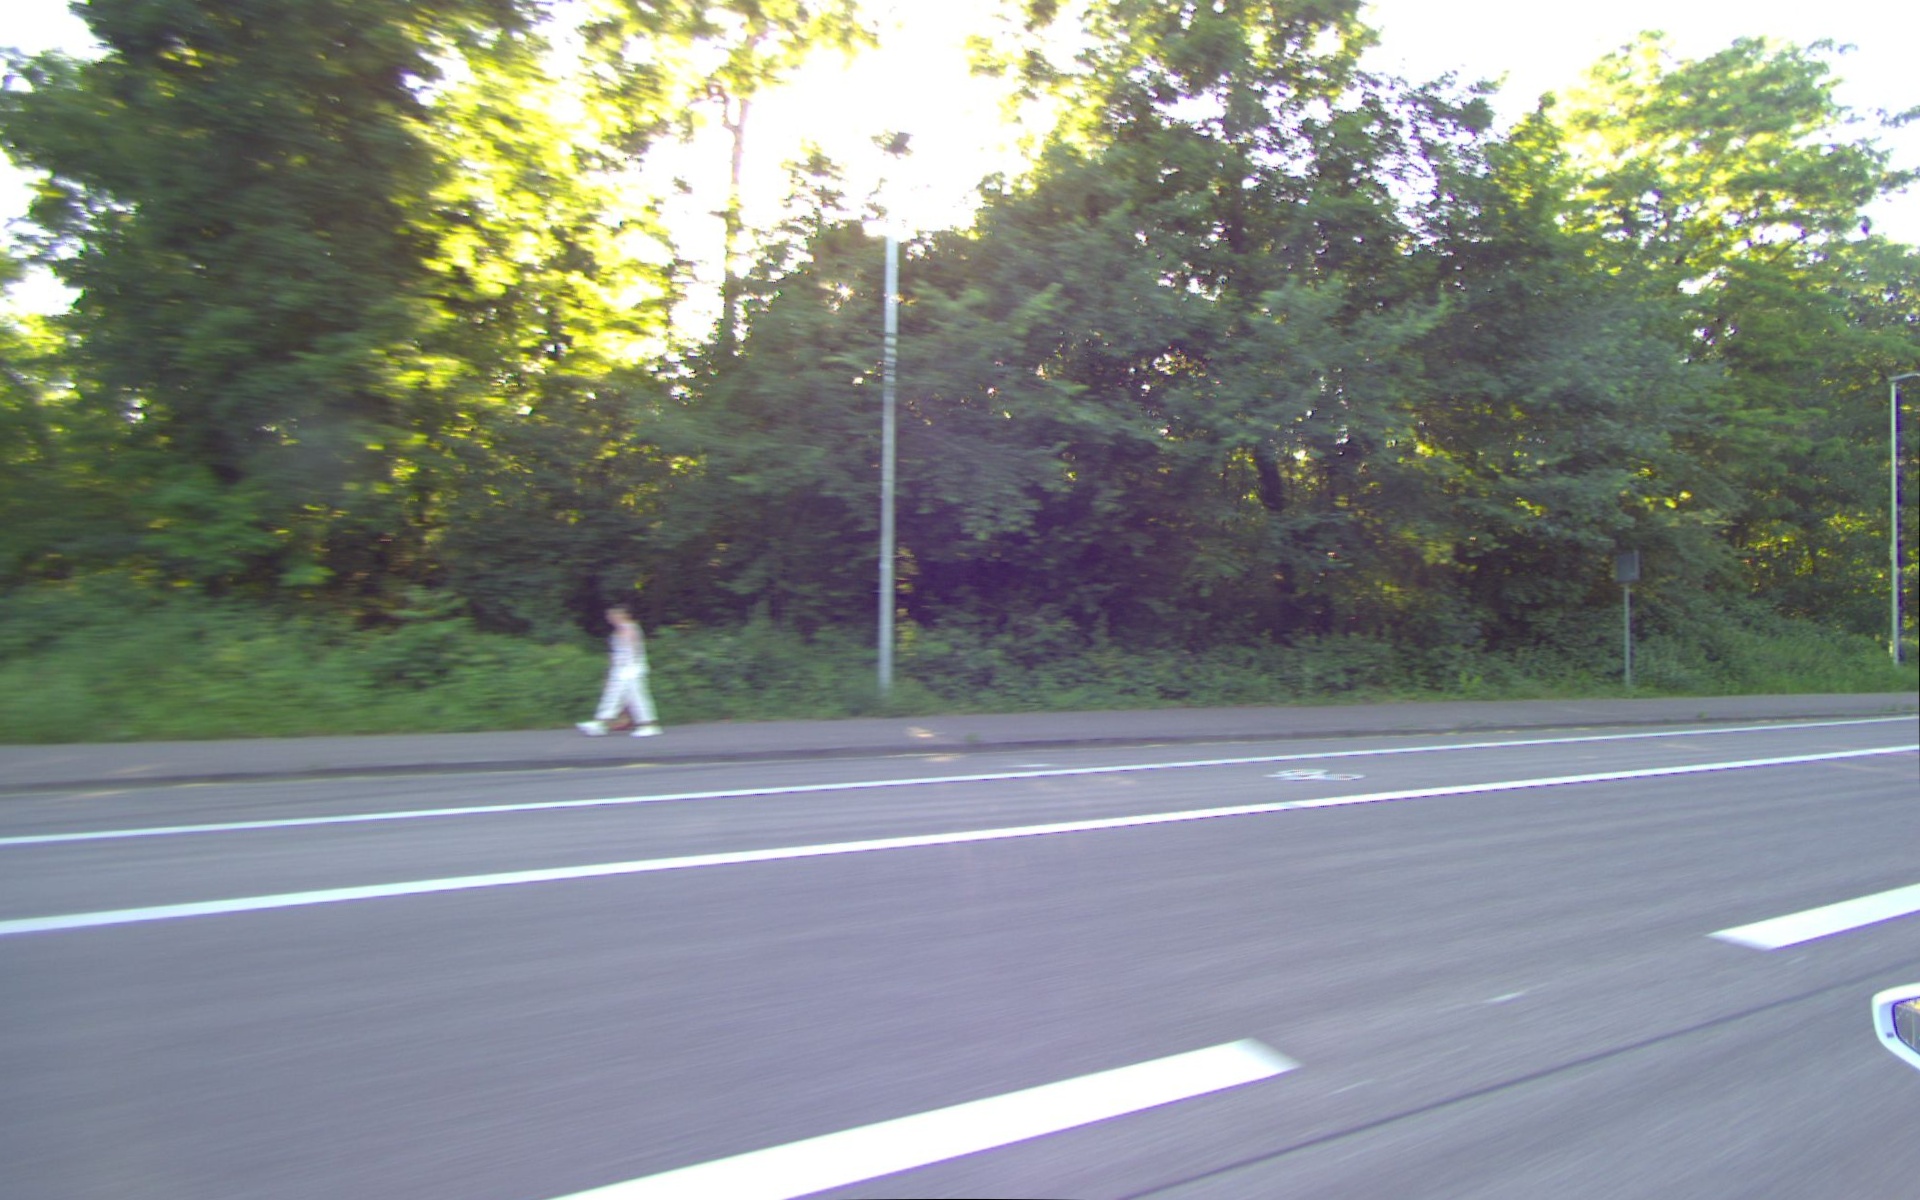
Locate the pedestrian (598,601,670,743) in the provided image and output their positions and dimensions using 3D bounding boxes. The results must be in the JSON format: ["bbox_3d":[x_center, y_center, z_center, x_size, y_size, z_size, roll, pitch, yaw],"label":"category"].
[{"bbox_3d":[-4.007,0.862,12.330,0.778,1.675,0.673,1,-1,-22],"label":"pedestrian"}]

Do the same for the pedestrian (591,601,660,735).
[{"bbox_3d":[-4.320,0.856,12.955,0.778,1.675,0.673,1,-1,-22],"label":"pedestrian"}]
